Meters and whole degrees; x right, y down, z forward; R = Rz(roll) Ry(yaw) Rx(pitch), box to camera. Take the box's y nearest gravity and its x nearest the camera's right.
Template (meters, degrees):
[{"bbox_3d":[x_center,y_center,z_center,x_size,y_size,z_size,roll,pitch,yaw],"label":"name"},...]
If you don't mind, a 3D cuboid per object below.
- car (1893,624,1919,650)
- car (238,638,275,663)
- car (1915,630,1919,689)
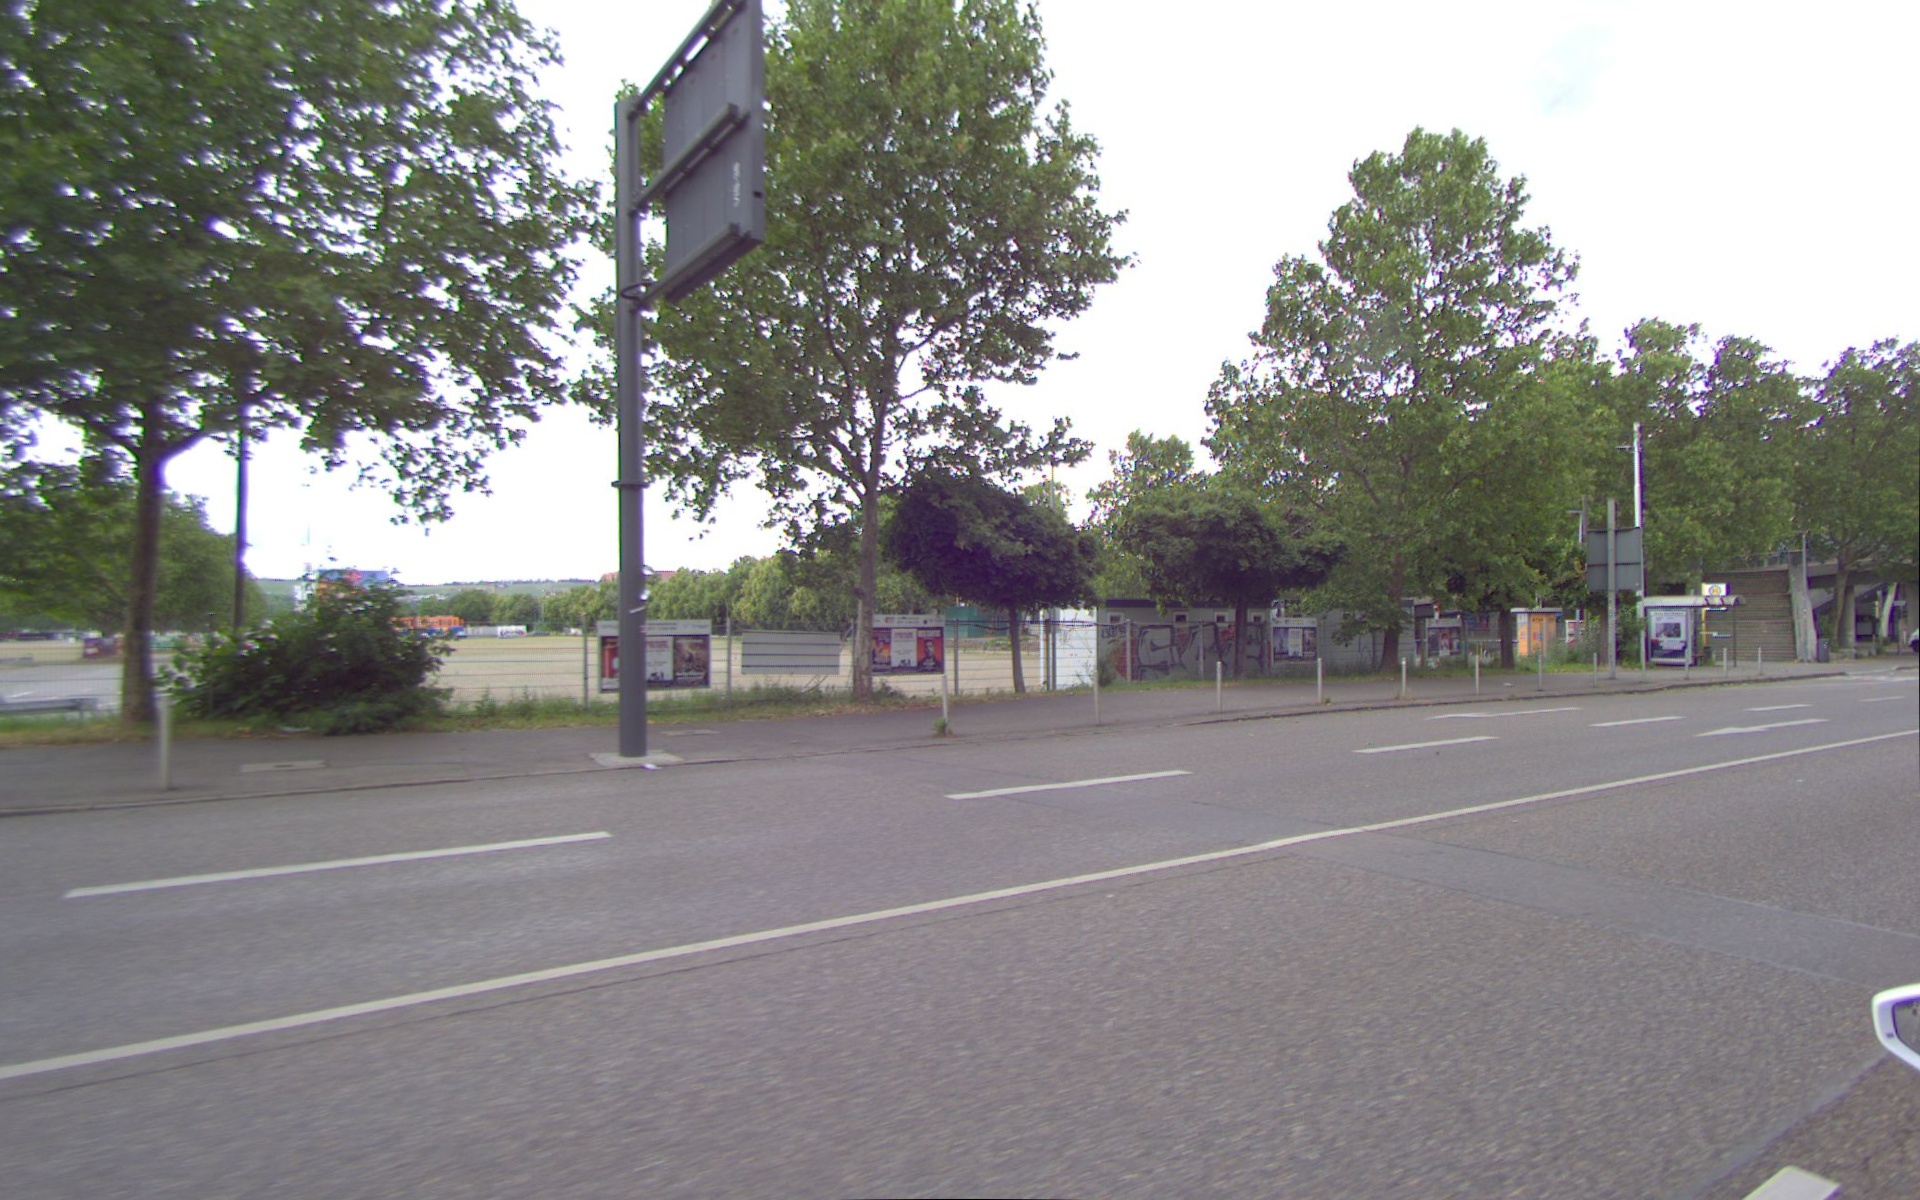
[{"bbox_3d":[66.164,2.516,67.795,1.961,1.767,4.595,1,-2,-2],"label":"car"},{"bbox_3d":[-54.490,3.851,77.788,1.984,1.726,3.941,2,0,-40],"label":"car"},{"bbox_3d":[27.776,1.573,27.088,4.677,1.550,1.981,1,-3,-34],"label":"car"}]
